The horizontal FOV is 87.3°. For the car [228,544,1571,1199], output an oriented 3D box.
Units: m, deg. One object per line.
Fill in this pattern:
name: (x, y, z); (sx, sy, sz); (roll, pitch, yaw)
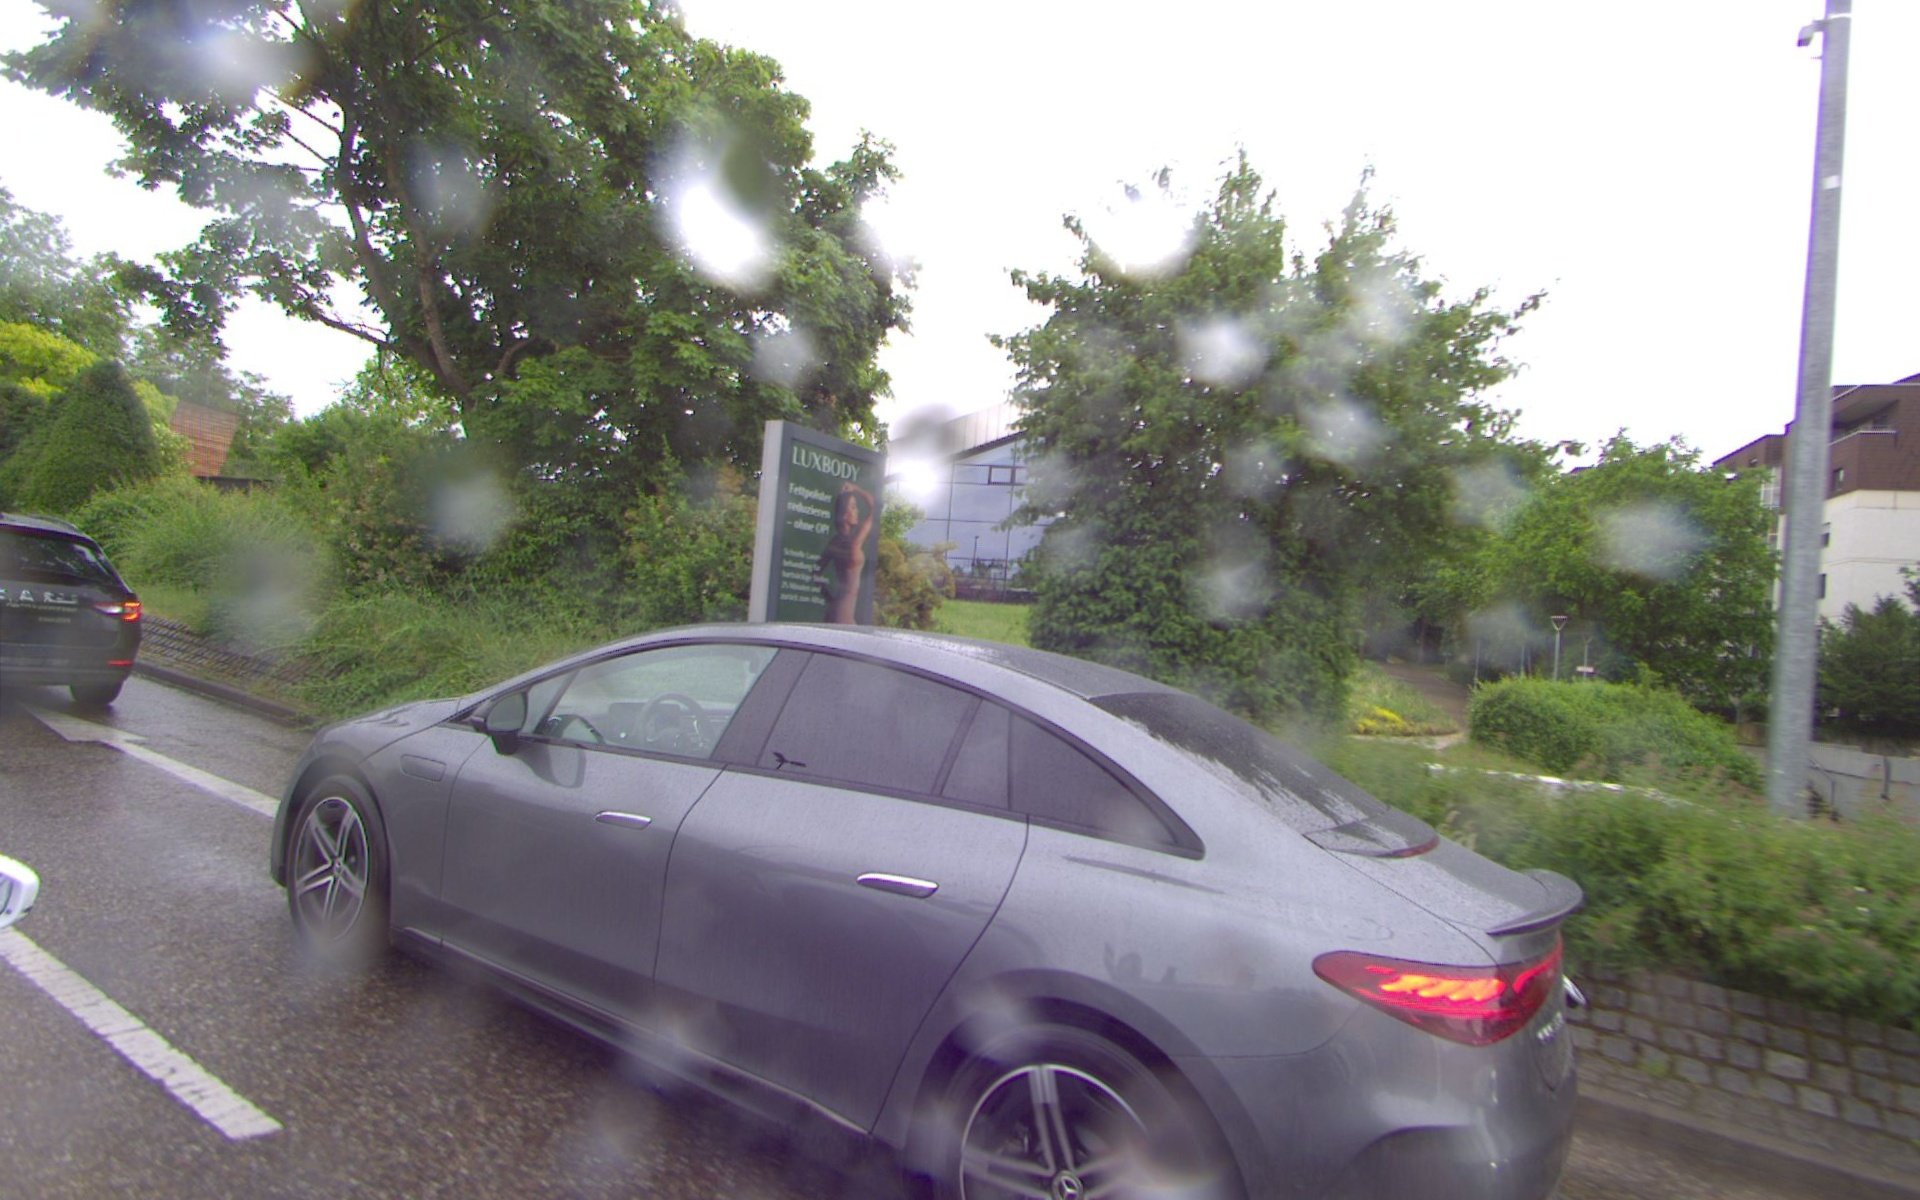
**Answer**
car: (-0.485, 0.792, 3.649); (4.475, 1.460, 1.835); (6, -3, 32)

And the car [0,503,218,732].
car: (-8.283, -0.042, 8.252); (4.534, 1.524, 1.958); (6, -4, 33)

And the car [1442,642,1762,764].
car: (17.294, 2.714, 27.618); (6.637, 2.301, 2.798); (6, 1, 11)
